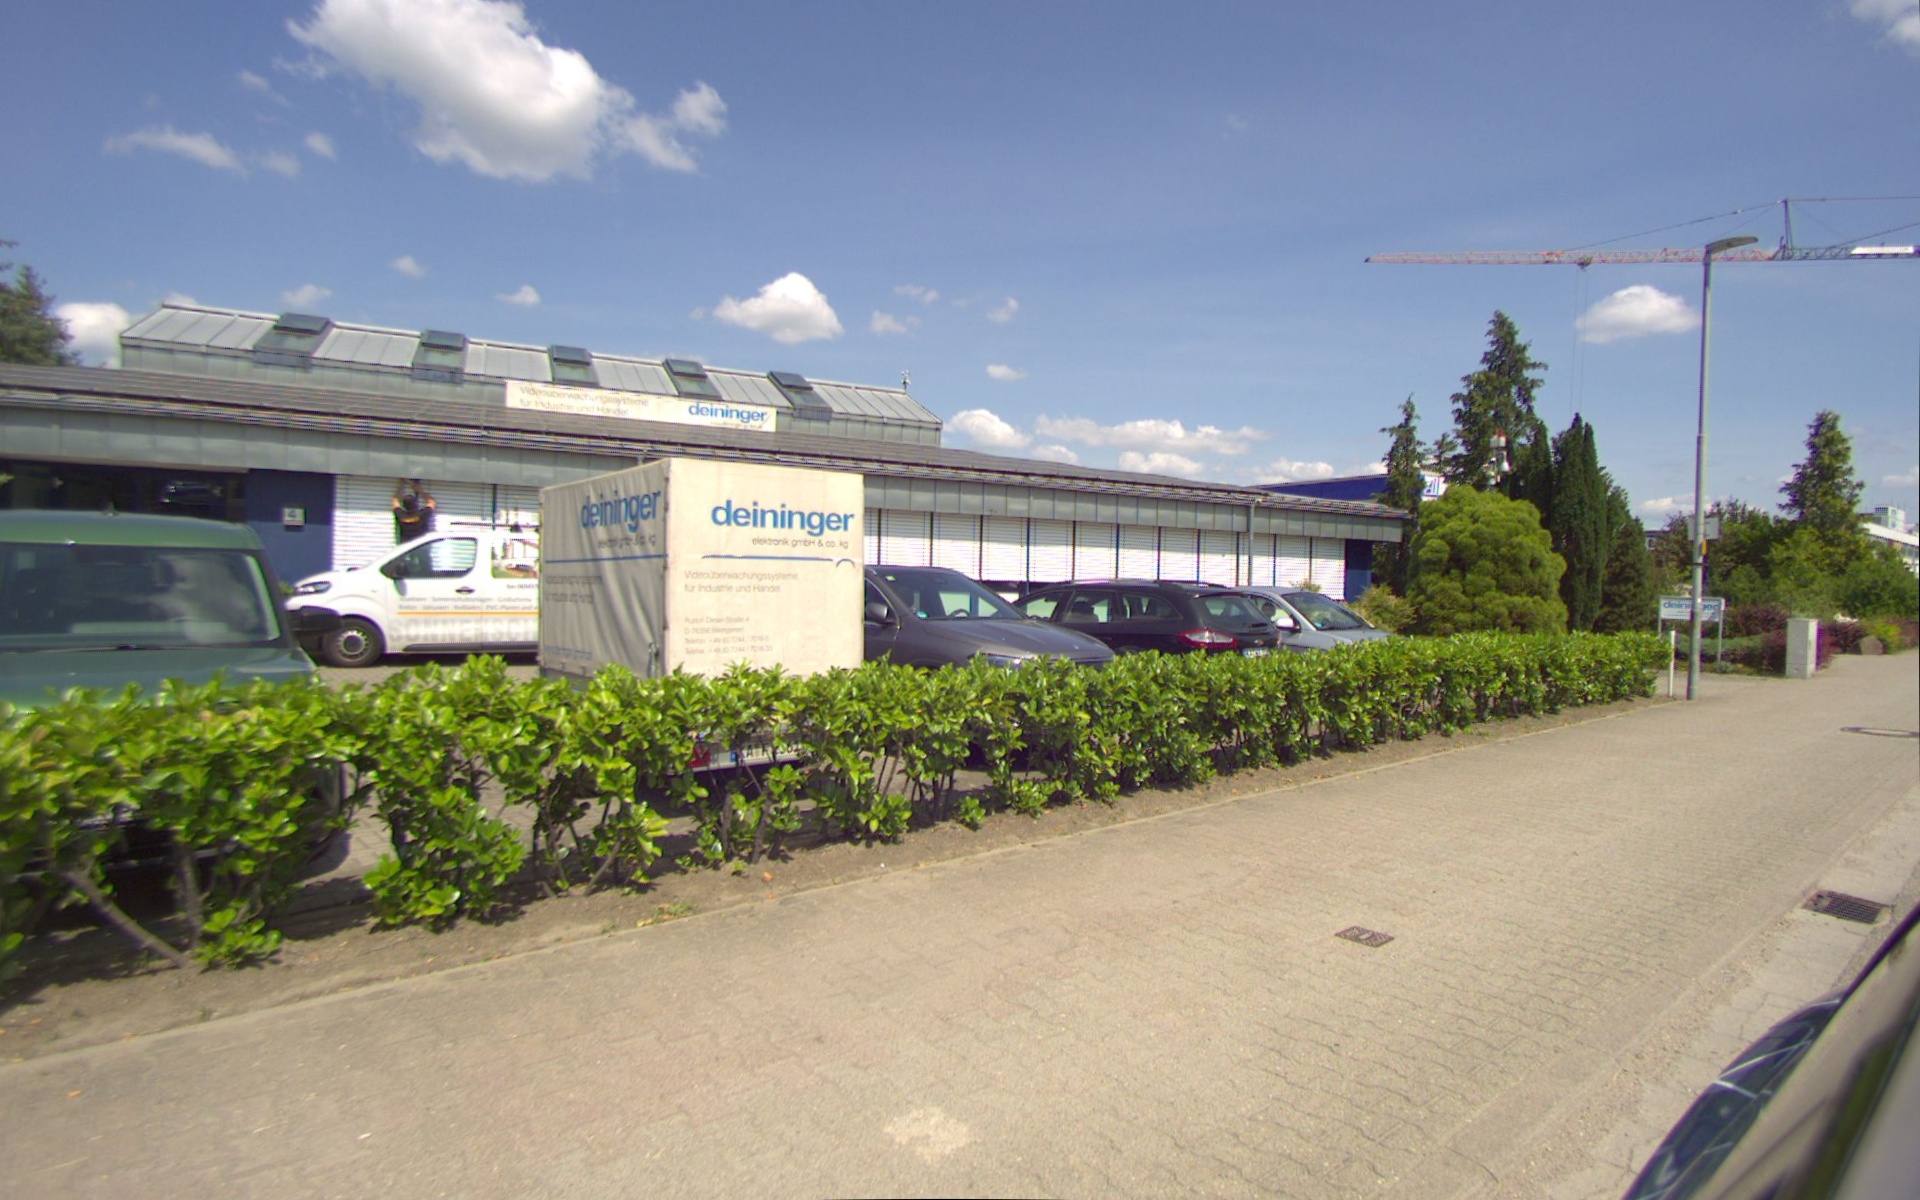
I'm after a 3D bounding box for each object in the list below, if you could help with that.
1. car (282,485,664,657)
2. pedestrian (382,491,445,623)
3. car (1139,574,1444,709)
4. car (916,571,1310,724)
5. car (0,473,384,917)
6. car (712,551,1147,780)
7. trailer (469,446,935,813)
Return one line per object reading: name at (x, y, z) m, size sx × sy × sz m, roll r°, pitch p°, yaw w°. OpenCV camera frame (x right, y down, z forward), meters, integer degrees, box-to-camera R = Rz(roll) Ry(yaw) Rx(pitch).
car at (-6.819, -0.406, 14.588) m, size 4.618 × 2.151 × 2.112 m, roll 0°, pitch 3°, yaw -25°
pedestrian at (-8.389, -0.663, 15.535) m, size 0.678 × 1.966 × 0.717 m, roll -2°, pitch 4°, yaw -41°
car at (4.173, 0.431, 13.149) m, size 1.736 × 1.419 × 3.364 m, roll 1°, pitch 2°, yaw -36°
car at (1.614, 0.410, 12.004) m, size 1.784 × 1.458 × 4.479 m, roll 0°, pitch 1°, yaw -43°
car at (-4.672, 0.239, 5.599) m, size 1.770 × 1.653 × 4.221 m, roll -2°, pitch 4°, yaw -41°
car at (-0.462, 0.374, 9.279) m, size 1.687 × 1.593 × 4.036 m, roll -3°, pitch 4°, yaw -45°
trailer at (-2.199, 0.116, 7.802) m, size 1.964 × 2.039 × 3.996 m, roll 0°, pitch 1°, yaw -40°
